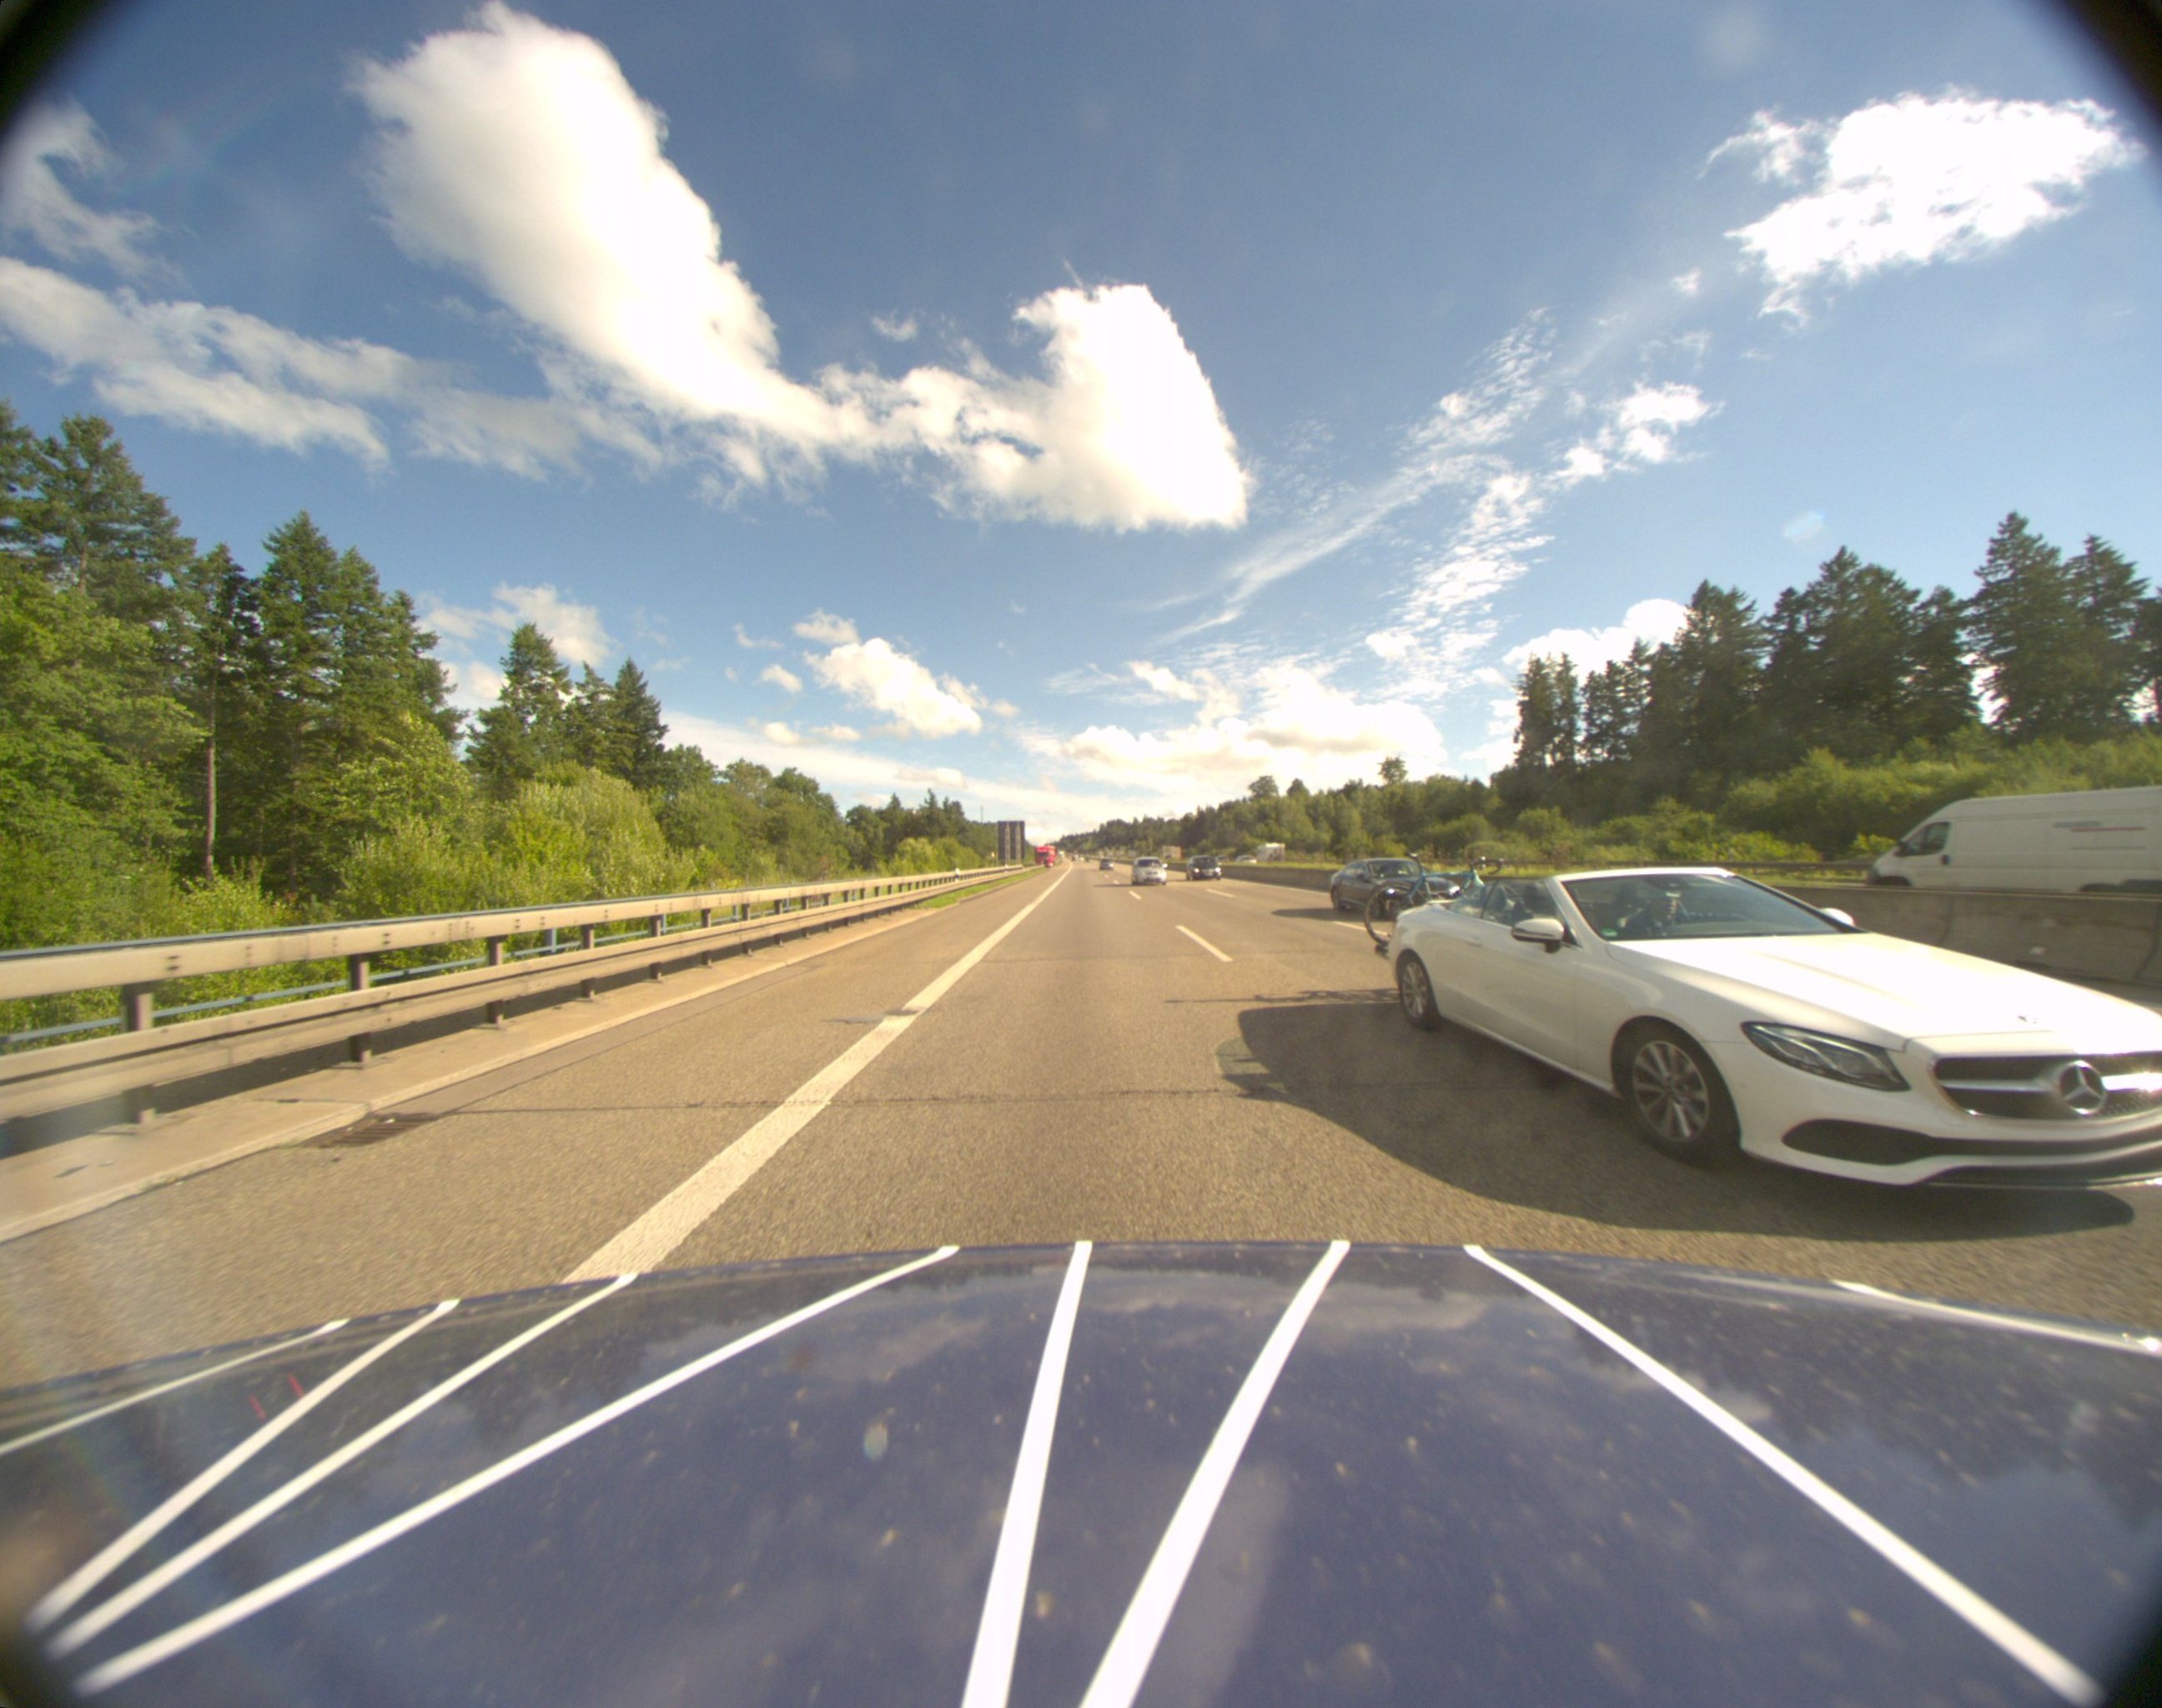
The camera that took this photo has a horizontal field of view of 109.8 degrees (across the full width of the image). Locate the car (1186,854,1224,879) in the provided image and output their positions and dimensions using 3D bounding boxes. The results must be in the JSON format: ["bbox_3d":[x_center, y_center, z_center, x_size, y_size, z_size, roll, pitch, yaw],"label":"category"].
[{"bbox_3d":[7.969,0.771,49.219,1.840,1.508,4.333,-2,0,1],"label":"car"}]

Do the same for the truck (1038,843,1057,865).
[{"bbox_3d":[-6.070,-0.014,139.021,2.880,3.871,8.958,-2,0,1],"label":"truck"}]

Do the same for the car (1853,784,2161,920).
[{"bbox_3d":[19.150,-0.101,15.046,2.102,2.262,5.446,-4,0,1],"label":"car"}]

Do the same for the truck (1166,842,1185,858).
[{"bbox_3d":[23.954,-0.997,193.231,3.323,3.880,11.740,-2,0,1],"label":"truck"}]

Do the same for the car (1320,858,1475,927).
[{"bbox_3d":[7.566,0.841,18.746,1.860,1.423,4.841,-2,0,1],"label":"car"}]

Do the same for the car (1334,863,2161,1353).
[{"bbox_3d":[3.736,0.879,5.365,2.065,1.490,5.736,-2,0,1],"label":"car"}]

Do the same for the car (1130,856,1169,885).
[{"bbox_3d":[3.827,0.910,43.182,1.840,1.508,4.333,-2,0,1],"label":"car"}]

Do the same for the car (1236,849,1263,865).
[{"bbox_3d":[17.526,0.305,79.029,1.824,1.412,4.000,-6,0,1],"label":"car"}]

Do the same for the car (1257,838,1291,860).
[{"bbox_3d":[23.762,-0.597,93.834,2.550,2.461,5.845,-4,0,1],"label":"car"}]

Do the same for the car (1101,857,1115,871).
[{"bbox_3d":[3.493,1.279,99.001,1.742,1.608,4.083,-2,0,1],"label":"car"}]
